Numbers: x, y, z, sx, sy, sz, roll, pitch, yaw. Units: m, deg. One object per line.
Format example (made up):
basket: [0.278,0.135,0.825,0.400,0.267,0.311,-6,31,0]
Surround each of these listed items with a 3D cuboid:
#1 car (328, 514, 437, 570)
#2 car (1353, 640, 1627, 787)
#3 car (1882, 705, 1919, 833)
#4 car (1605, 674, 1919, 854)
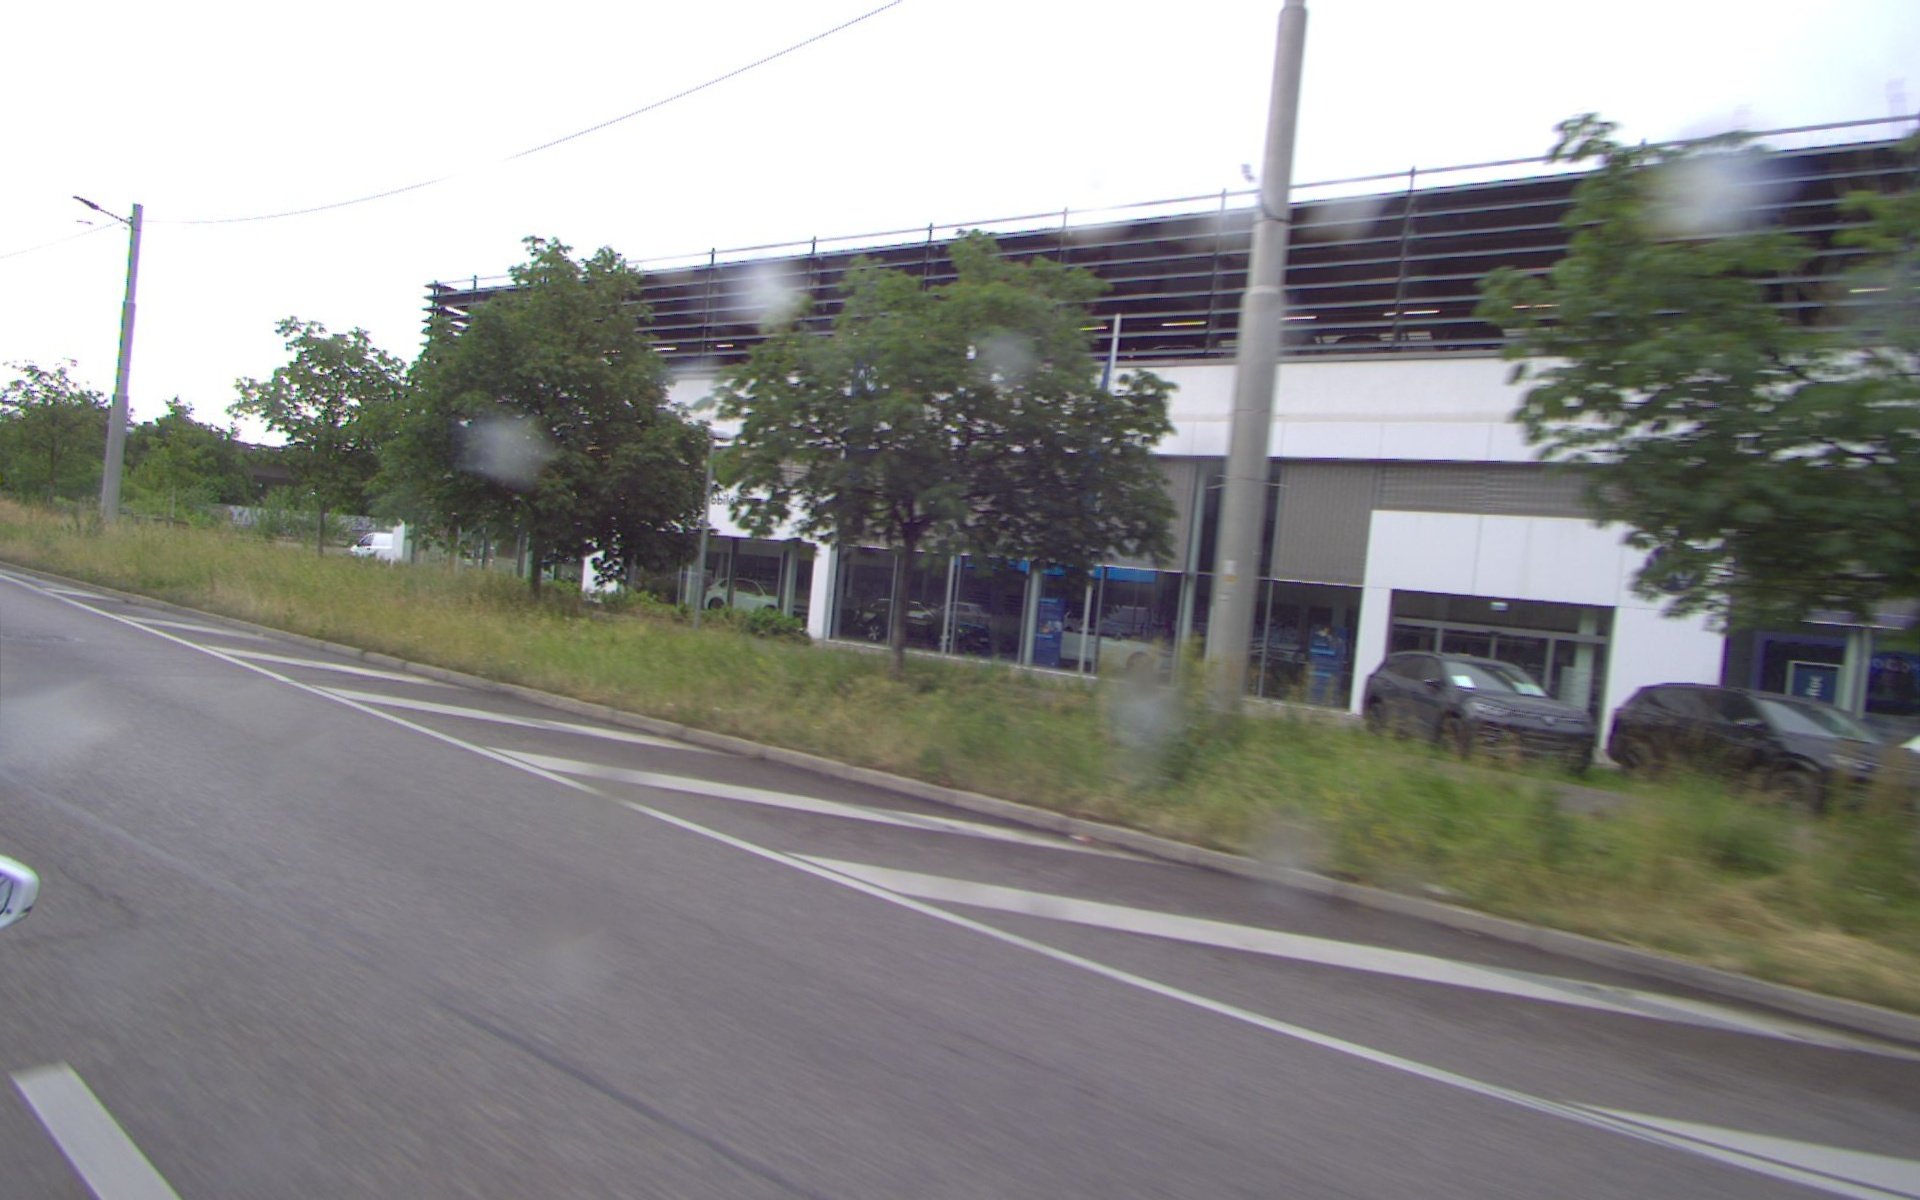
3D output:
car: [-27.487,-2.767,47.832,5.003,2.038,2.048,7,-1,29]
car: [8.084,1.633,15.963,1.817,1.589,4.623,5,1,1]
car: [13.624,2.363,11.612,1.822,1.647,4.352,5,1,1]
car: [11.011,2.046,13.473,1.766,1.589,4.372,5,1,0]
